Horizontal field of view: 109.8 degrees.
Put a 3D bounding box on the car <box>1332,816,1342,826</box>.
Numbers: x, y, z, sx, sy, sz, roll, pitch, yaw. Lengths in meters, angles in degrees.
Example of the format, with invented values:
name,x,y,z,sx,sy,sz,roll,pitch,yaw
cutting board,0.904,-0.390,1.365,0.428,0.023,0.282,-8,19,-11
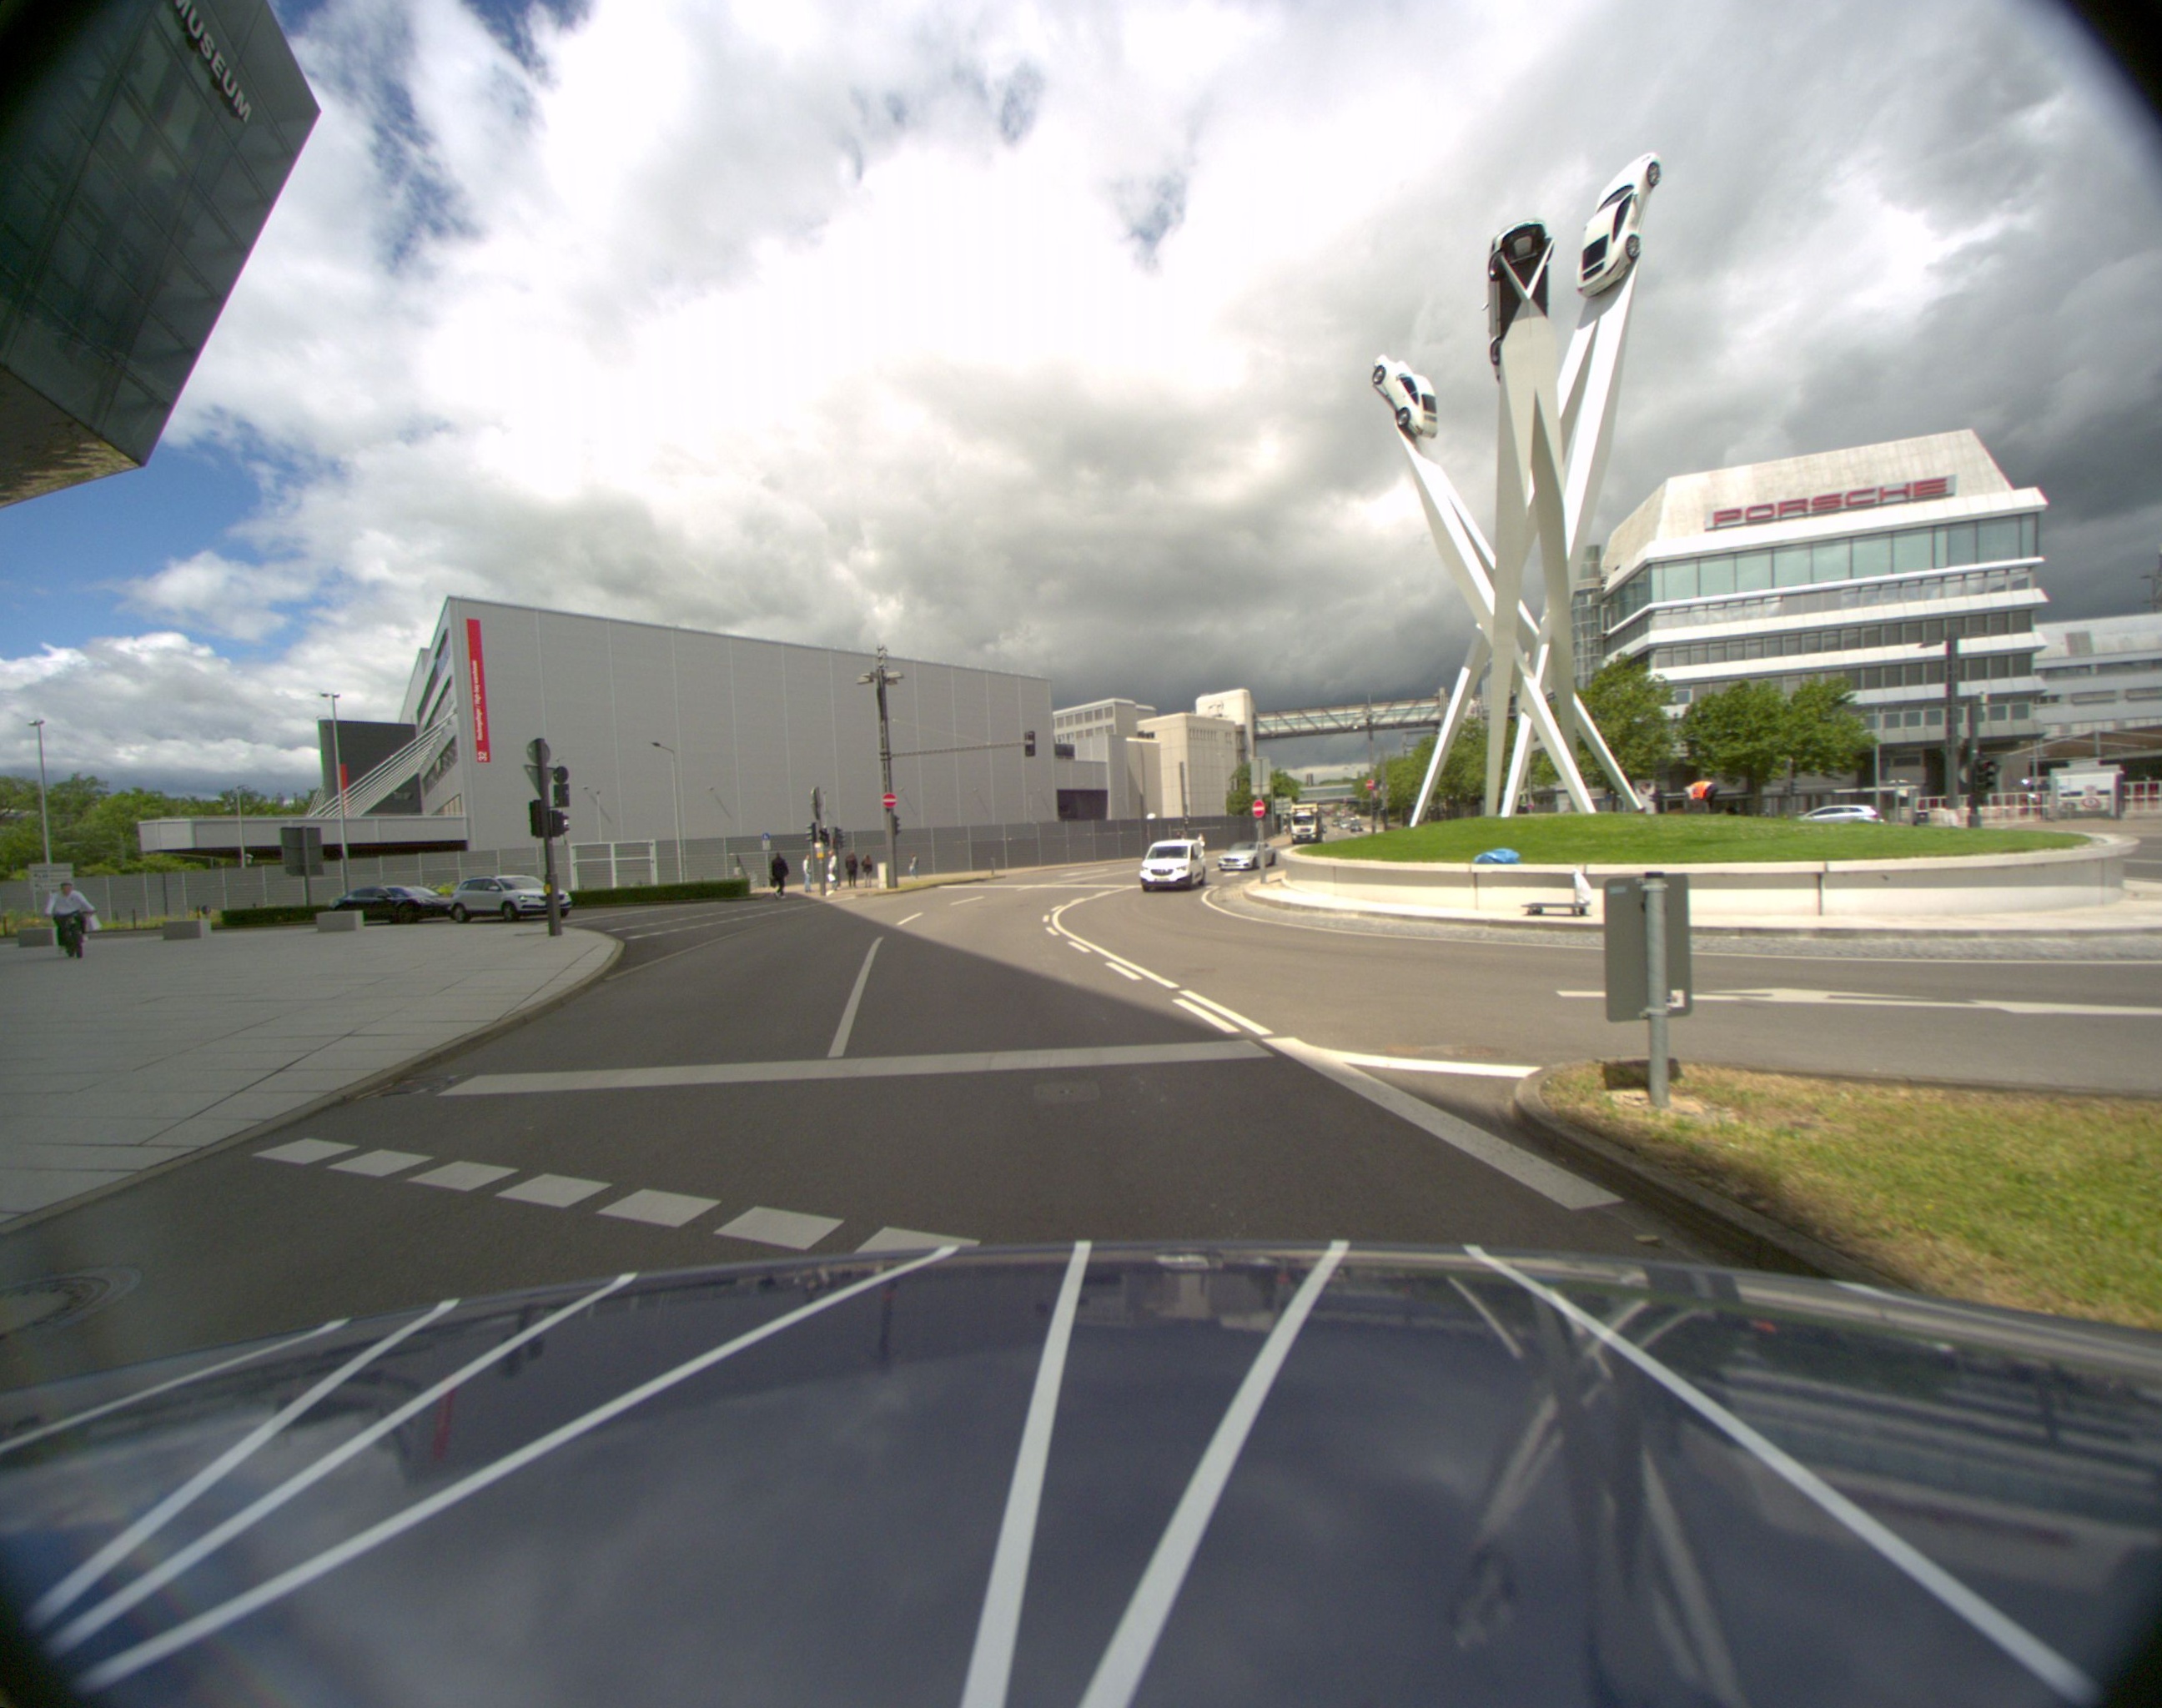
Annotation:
name,x,y,z,sx,sy,sz,roll,pitch,yaw
car,57.984,-7.463,172.158,1.869,1.945,4.714,-4,3,18

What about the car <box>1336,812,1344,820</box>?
name,x,y,z,sx,sy,sz,roll,pitch,yaw
car,73.453,-10.801,215.383,1.869,1.945,4.714,-4,3,18

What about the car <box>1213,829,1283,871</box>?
name,x,y,z,sx,sy,sz,roll,pitch,yaw
car,8.662,-0.256,39.194,1.868,1.945,4.719,1,4,35

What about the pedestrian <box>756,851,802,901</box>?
name,x,y,z,sx,sy,sz,roll,pitch,yaw
pedestrian,-12.554,0.891,31.579,0.954,1.973,1.384,-3,1,33

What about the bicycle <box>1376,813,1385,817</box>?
name,x,y,z,sx,sy,sz,roll,pitch,yaw
bicycle,92.559,-11.981,234.574,2.558,1.079,0.616,-3,3,23

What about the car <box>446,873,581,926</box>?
name,x,y,z,sx,sy,sz,roll,pitch,yaw
car,-19.324,1.504,25.895,3.990,1.541,1.840,-1,4,23

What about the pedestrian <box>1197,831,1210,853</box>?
name,x,y,z,sx,sy,sz,roll,pitch,yaw
pedestrian,9.511,-0.917,59.195,0.660,1.599,0.824,-3,3,28

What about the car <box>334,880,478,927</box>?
name,x,y,z,sx,sy,sz,roll,pitch,yaw
car,-24.708,1.810,27.857,4.151,1.375,1.840,-3,1,14

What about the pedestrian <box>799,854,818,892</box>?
name,x,y,z,sx,sy,sz,roll,pitch,yaw
pedestrian,-12.878,0.882,35.937,0.621,1.750,0.605,-6,3,-27

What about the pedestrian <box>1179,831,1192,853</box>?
name,x,y,z,sx,sy,sz,roll,pitch,yaw
pedestrian,7.824,-0.885,56.820,0.663,1.607,0.464,-5,3,-20

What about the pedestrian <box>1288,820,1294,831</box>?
name,x,y,z,sx,sy,sz,roll,pitch,yaw
pedestrian,33.584,-4.505,121.277,0.796,1.711,0.732,-4,3,14

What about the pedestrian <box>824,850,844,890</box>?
name,x,y,z,sx,sy,sz,roll,pitch,yaw
pedestrian,-11.785,0.775,36.270,0.621,1.837,0.671,-6,3,-28

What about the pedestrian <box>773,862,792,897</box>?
name,x,y,z,sx,sy,sz,roll,pitch,yaw
pedestrian,-13.258,1.113,33.737,0.583,1.488,0.770,-5,3,-15

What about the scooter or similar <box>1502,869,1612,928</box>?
name,x,y,z,sx,sy,sz,roll,pitch,yaw
scooter or similar,7.624,0.688,12.195,0.910,0.843,1.258,-4,2,-41

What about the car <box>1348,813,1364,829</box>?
name,x,y,z,sx,sy,sz,roll,pitch,yaw
car,40.275,-4.858,111.406,1.869,1.945,4.714,-4,3,18

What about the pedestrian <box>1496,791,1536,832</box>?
name,x,y,z,sx,sy,sz,roll,pitch,yaw
pedestrian,19.741,-1.922,34.510,1.285,1.807,0.986,-1,3,1

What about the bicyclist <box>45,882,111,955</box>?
name,x,y,z,sx,sy,sz,roll,pitch,yaw
bicyclist,-24.265,1.539,18.382,0.934,1.644,0.774,-3,3,34

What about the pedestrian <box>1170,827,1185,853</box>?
name,x,y,z,sx,sy,sz,roll,pitch,yaw
pedestrian,7.168,-1.057,56.510,0.794,1.856,0.660,-6,3,-21

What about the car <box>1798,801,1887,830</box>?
name,x,y,z,sx,sy,sz,roll,pitch,yaw
car,46.501,-2.315,46.449,1.815,1.474,3.600,-6,3,-35

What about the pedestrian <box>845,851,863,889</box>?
name,x,y,z,sx,sy,sz,roll,pitch,yaw
pedestrian,-10.999,0.763,36.818,0.621,1.785,0.671,-6,3,-26

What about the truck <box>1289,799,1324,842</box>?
name,x,y,z,sx,sy,sz,roll,pitch,yaw
truck,22.651,-3.350,75.935,2.709,3.864,10.751,-2,2,19

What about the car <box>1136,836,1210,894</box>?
name,x,y,z,sx,sy,sz,roll,pitch,yaw
car,3.564,0.338,28.705,1.822,2.002,4.396,-1,1,20

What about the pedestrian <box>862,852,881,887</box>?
name,x,y,z,sx,sy,sz,roll,pitch,yaw
pedestrian,-10.232,0.769,37.095,0.673,1.629,0.619,-5,3,-10

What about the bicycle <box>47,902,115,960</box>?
name,x,y,z,sx,sy,sz,roll,pitch,yaw
bicycle,-24.293,1.847,18.453,1.921,1.267,0.782,-3,3,34

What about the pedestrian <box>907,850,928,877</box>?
name,x,y,z,sx,sy,sz,roll,pitch,yaw
pedestrian,-10.043,0.594,46.677,0.922,1.578,0.693,-7,4,-41

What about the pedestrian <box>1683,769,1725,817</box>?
name,x,y,z,sx,sy,sz,roll,pitch,yaw
pedestrian,18.951,-1.865,23.128,0.853,1.400,0.966,7,9,39

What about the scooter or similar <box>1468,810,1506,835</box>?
name,x,y,z,sx,sy,sz,roll,pitch,yaw
scooter or similar,18.504,-1.443,34.621,1.404,1.020,0.550,-4,0,-2
